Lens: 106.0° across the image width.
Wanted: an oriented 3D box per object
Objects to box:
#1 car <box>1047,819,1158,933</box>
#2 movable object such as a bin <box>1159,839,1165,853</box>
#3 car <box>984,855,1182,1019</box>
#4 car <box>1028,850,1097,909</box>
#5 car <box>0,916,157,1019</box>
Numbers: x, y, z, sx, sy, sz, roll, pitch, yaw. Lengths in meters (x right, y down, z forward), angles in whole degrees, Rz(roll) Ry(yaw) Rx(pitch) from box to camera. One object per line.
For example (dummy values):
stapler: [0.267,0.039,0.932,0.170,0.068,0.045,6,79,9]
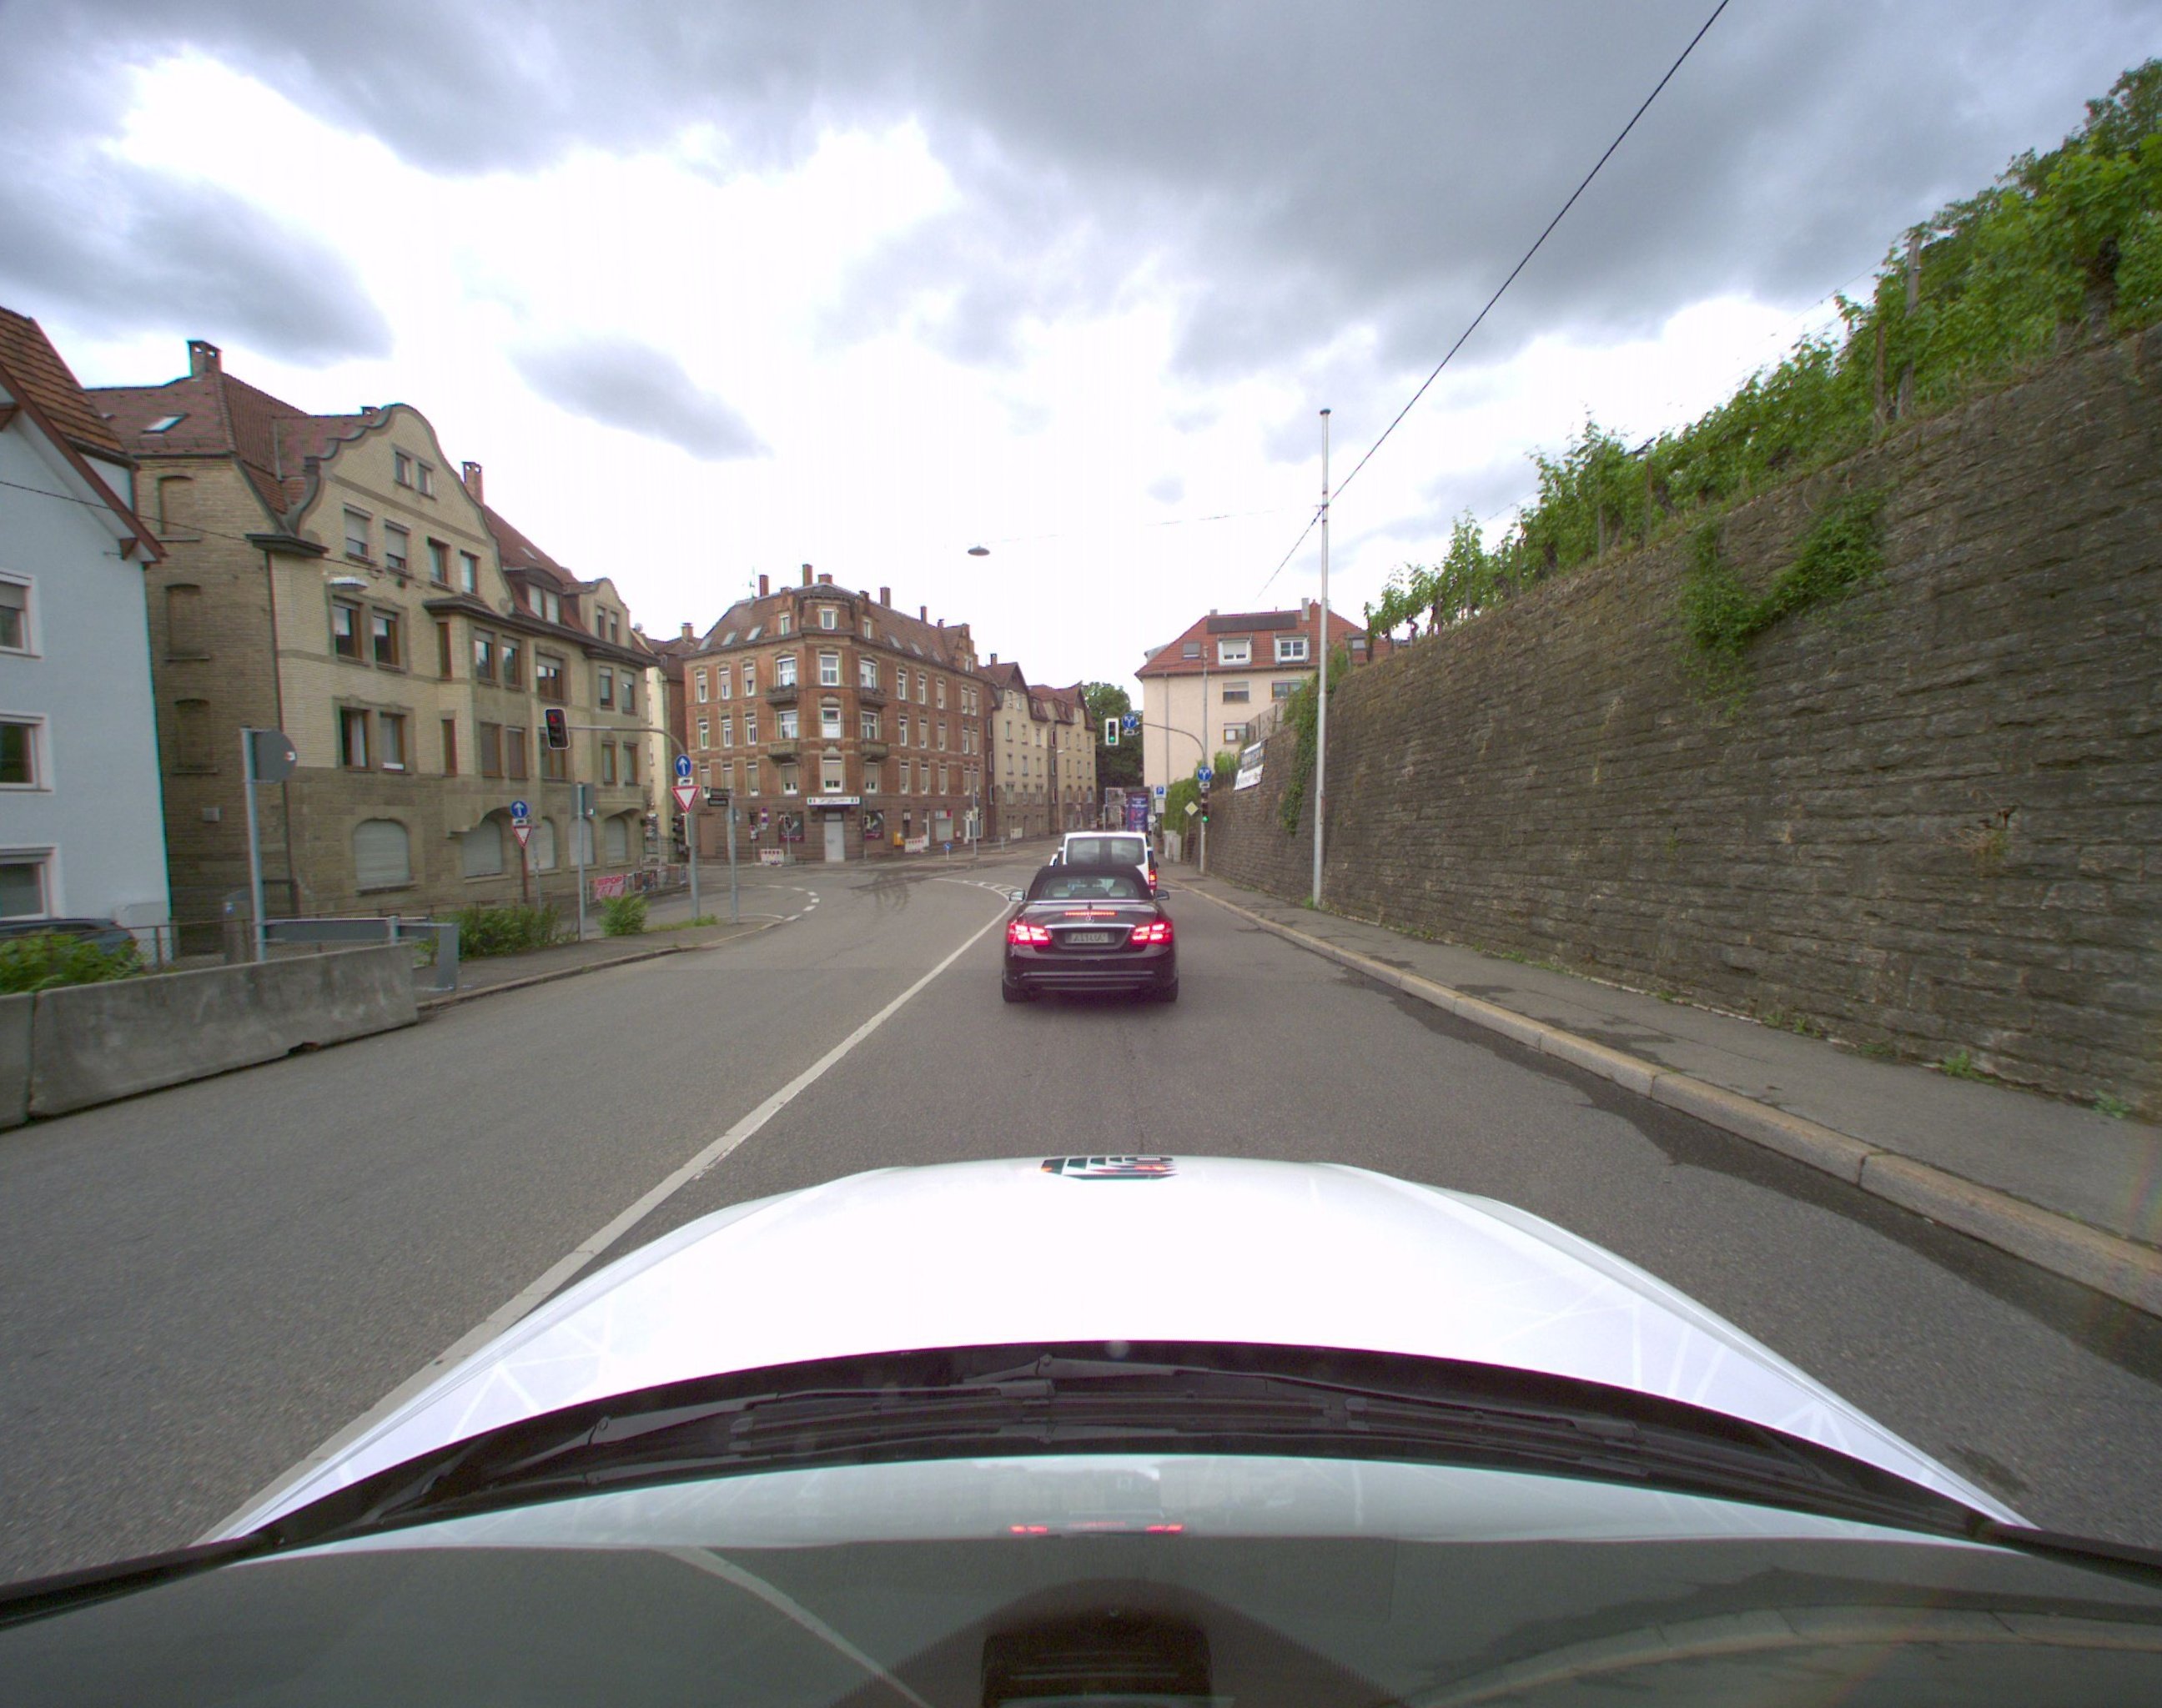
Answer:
car: [0.436,0.356,16.317,1.884,1.929,4.647,-1,0,2]
movable object such as a bin: [5.173,-0.507,52.020,0.343,0.911,0.494,-1,0,-4]
car: [0.086,0.746,9.526,1.755,1.409,4.400,-1,0,2]
car: [-0.428,0.634,22.496,1.674,1.466,3.920,-1,0,2]
car: [-19.145,2.067,13.945,1.676,1.555,4.235,-3,1,1]
